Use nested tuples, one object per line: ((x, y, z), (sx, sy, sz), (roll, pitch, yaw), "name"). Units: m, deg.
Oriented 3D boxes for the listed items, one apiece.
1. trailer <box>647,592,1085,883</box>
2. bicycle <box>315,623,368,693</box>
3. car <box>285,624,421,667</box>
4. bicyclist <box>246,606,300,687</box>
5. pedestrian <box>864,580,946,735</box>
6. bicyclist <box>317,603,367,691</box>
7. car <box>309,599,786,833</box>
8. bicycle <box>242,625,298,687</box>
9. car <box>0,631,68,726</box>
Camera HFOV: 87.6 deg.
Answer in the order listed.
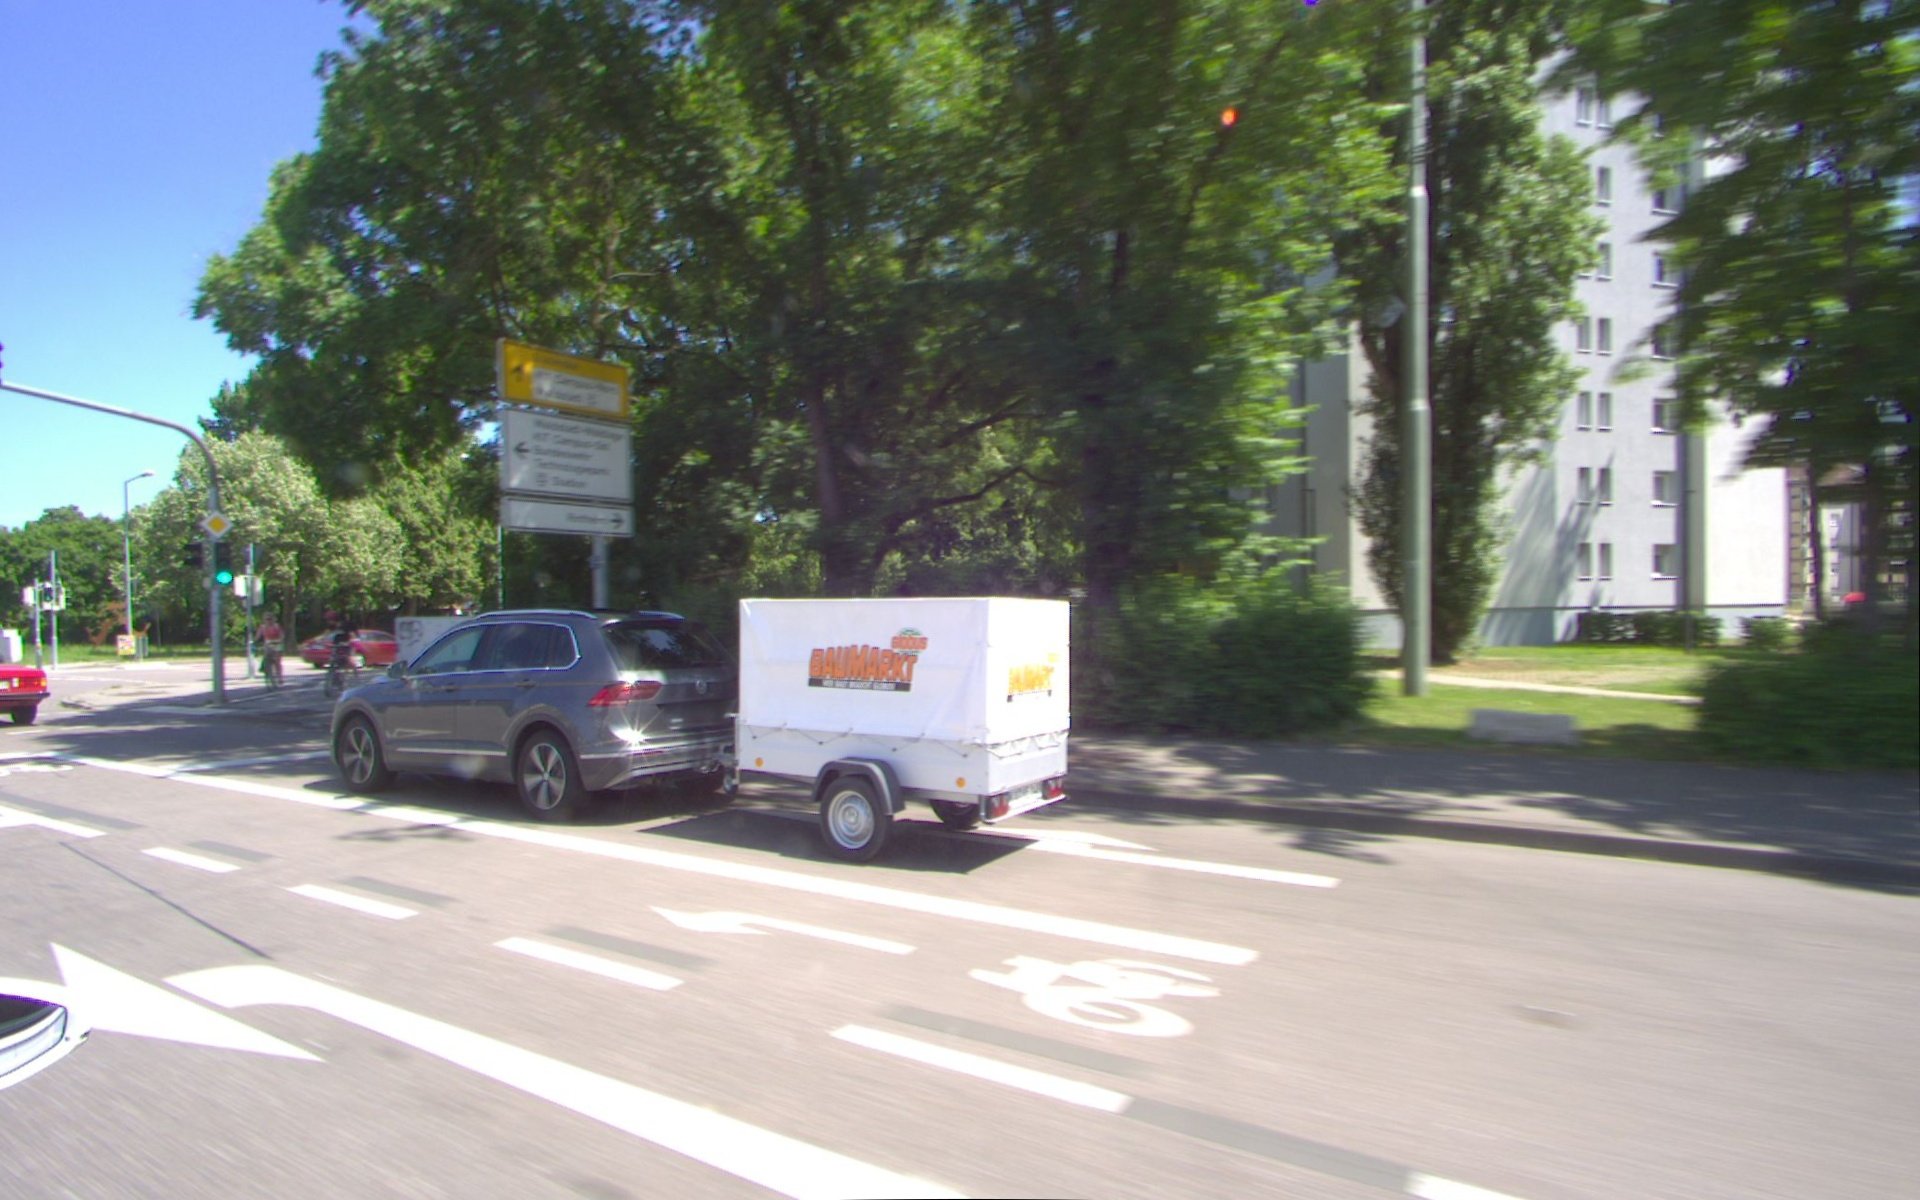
((-0.689, 0.839, 7.183), (2.813, 1.690, 1.467), (-1, -1, 30), "trailer")
((-12.621, 1.165, 20.459), (0.715, 1.313, 1.299), (-3, 2, -25), "bicycle")
((-23.715, 1.725, 39.329), (1.963, 1.523, 4.498), (0, 0, 14), "car")
((-15.491, 1.031, 22.589), (0.671, 1.750, 0.797), (-1, 2, 42), "bicyclist")
((-0.670, 0.677, 12.373), (0.683, 1.840, 0.751), (0, 1, 30), "pedestrian")
((-12.612, 0.941, 20.451), (0.715, 1.726, 0.676), (-3, 2, -25), "bicyclist")
((-3.796, 0.883, 9.012), (4.333, 1.675, 1.698), (-1, -2, 30), "car")
((-15.648, 1.256, 22.700), (1.608, 1.322, 0.640), (-1, 2, 43), "bicycle")
((-16.278, 1.215, 16.108), (4.203, 1.414, 1.653), (-1, -2, 30), "car")
